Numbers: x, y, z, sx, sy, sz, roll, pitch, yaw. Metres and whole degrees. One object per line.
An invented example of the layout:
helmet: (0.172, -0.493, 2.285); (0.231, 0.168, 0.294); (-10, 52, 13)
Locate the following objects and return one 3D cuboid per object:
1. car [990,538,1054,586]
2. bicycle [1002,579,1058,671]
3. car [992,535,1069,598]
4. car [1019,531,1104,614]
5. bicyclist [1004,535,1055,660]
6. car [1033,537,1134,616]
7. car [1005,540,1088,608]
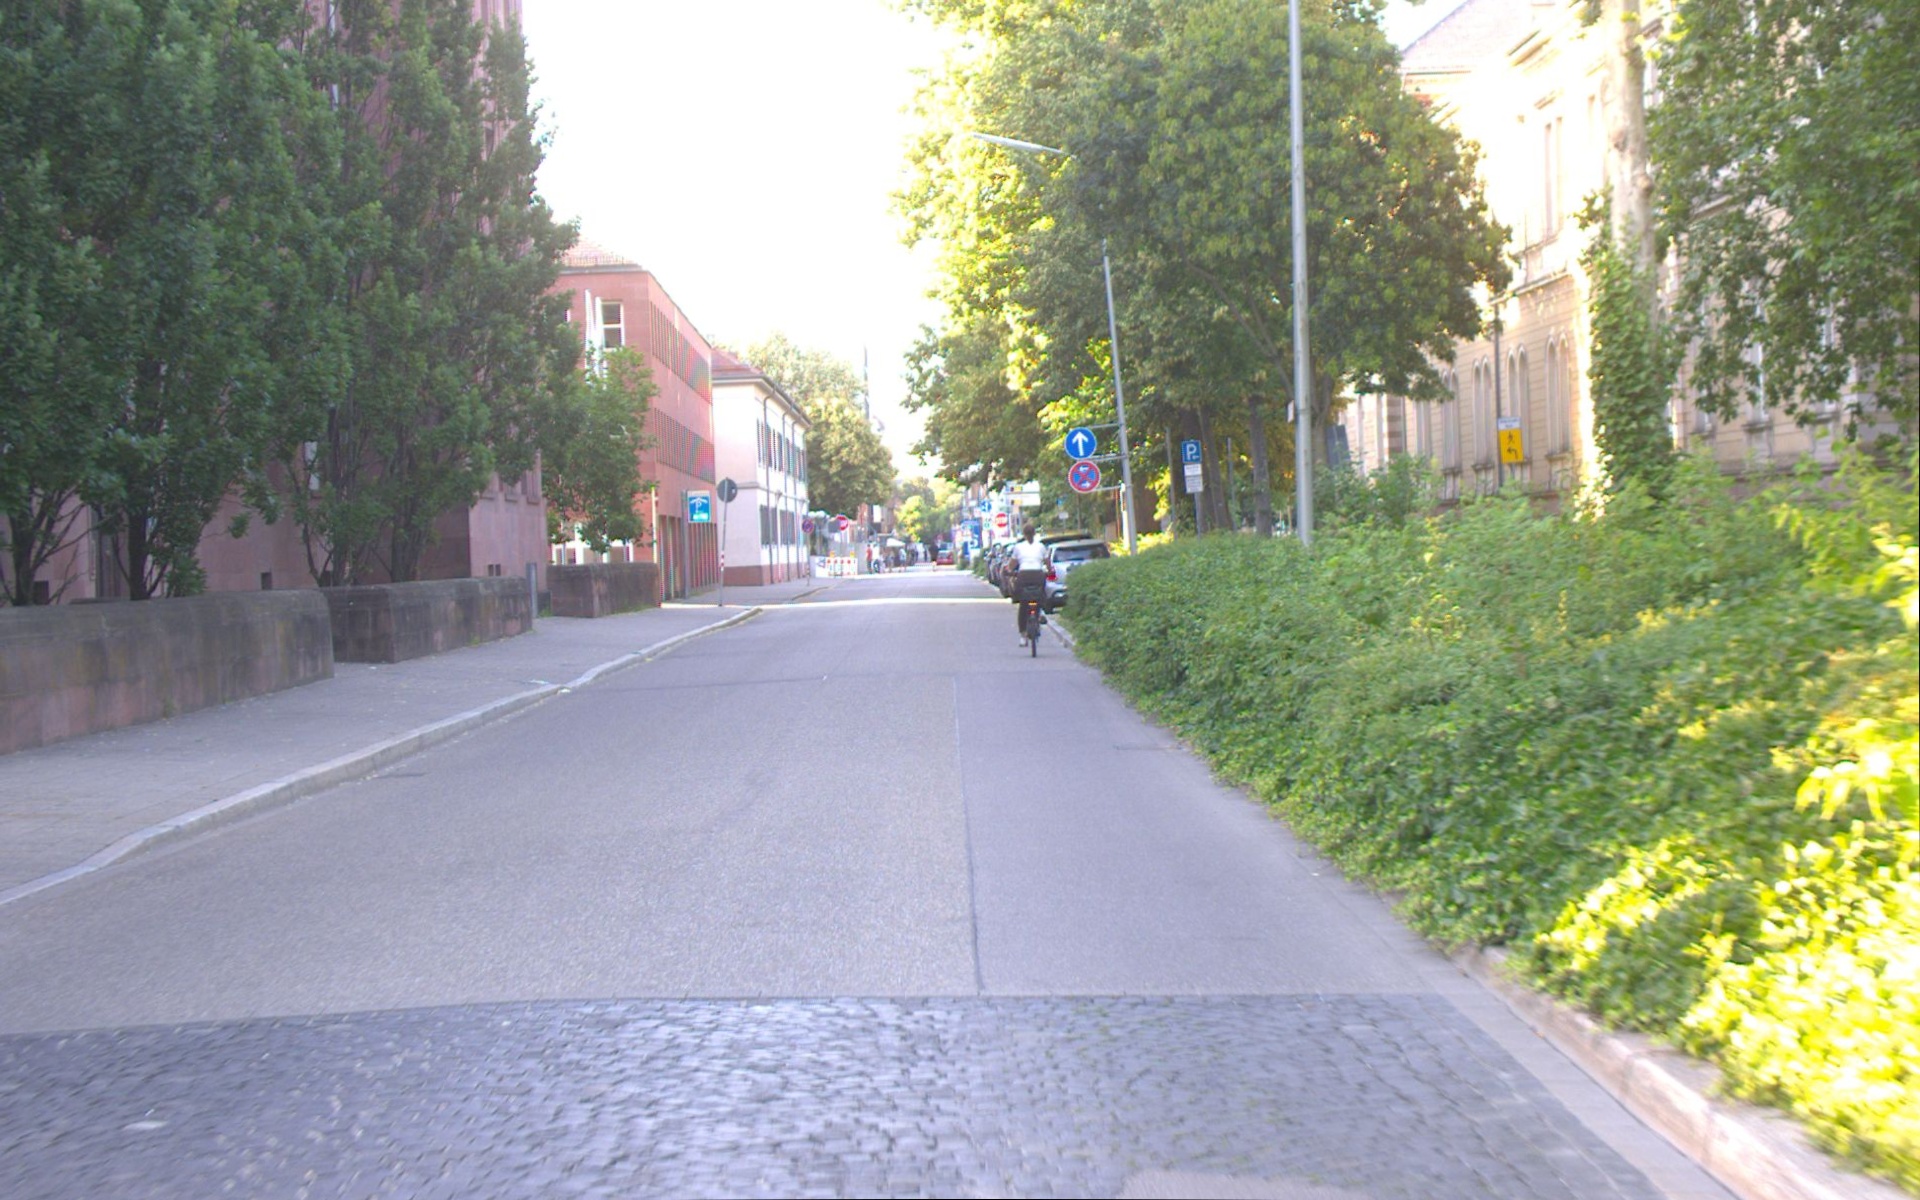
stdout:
car: (2.162, -1.350, 120.866); (1.993, 1.579, 4.000); (-3, 1, -1)
bicycle: (0.933, 0.319, 46.195); (0.638, 1.189, 1.876); (0, 1, -2)
car: (2.018, -0.983, 99.689); (1.993, 1.700, 4.000); (-3, 1, -1)
car: (2.212, -0.614, 75.852); (1.715, 1.706, 4.473); (-2, 1, 0)
bicyclist: (0.929, -0.037, 46.157); (0.639, 1.661, 0.843); (0, 1, -2)
car: (2.492, -0.462, 70.097); (1.685, 1.442, 3.672); (-5, 0, -2)
car: (2.071, -0.644, 83.673); (1.715, 1.532, 4.049); (-2, 1, -2)
